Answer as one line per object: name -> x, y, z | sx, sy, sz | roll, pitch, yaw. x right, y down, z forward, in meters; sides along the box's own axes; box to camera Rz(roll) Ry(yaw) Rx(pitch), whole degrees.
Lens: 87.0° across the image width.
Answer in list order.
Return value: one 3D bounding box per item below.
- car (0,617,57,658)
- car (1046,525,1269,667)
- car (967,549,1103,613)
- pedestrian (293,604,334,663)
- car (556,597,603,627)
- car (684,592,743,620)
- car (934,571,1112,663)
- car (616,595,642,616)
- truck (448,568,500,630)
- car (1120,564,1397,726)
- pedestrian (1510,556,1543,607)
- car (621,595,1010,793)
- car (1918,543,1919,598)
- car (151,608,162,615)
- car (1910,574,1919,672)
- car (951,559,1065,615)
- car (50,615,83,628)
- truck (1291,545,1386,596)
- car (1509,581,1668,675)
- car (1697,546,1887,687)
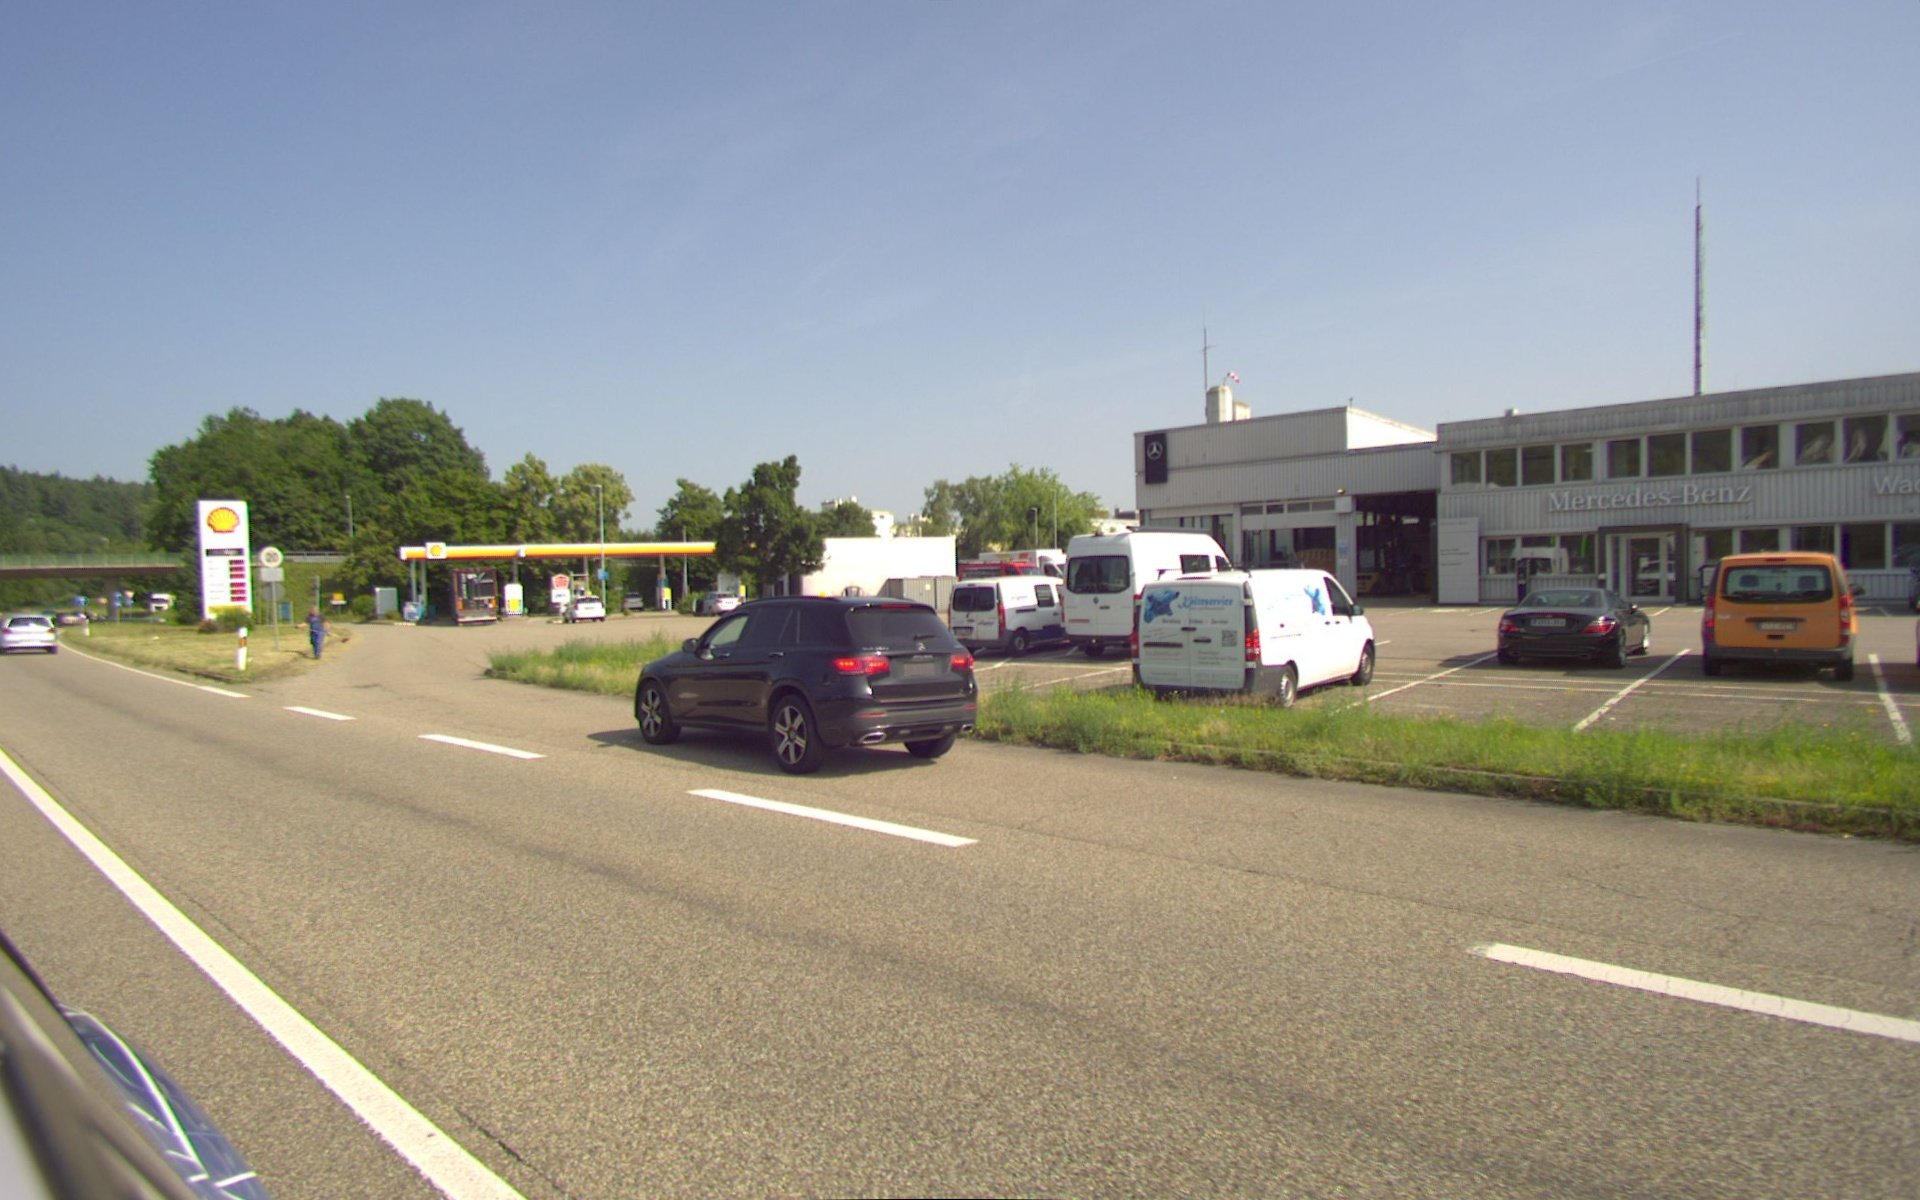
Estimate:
car -> -35.464, 1.402, 38.416 | 1.658, 1.484, 3.710 | 1, -1, -44
car -> 4.543, -0.197, 22.505 | 2.284, 2.765, 5.662 | -1, 2, 41
car -> 3.613, -0.865, 49.939 | 6.525, 2.877, 2.370 | -2, 0, 41
pedestrian -> -19.344, 0.984, 30.283 | 0.835, 1.702, 1.148 | -1, 0, -23
car -> -21.550, 0.665, 57.242 | 1.691, 1.578, 4.671 | -1, 0, -31
car -> -14.683, 0.361, 60.033 | 1.693, 1.578, 4.668 | -1, 0, -37
car -> 1.590, 0.328, 24.024 | 1.985, 1.853, 4.401 | -1, 2, 39
car -> -28.234, 0.472, 86.233 | 1.877, 1.654, 4.013 | -2, 1, -20
truck -> -36.587, -0.076, 75.784 | 3.010, 4.165, 16.826 | -1, 0, -27
car -> 4.451, 0.492, 14.568 | 2.142, 1.871, 4.625 | -2, 1, 39
pedestrian -> 19.378, -0.627, 34.616 | 0.849, 1.702, 0.812 | -1, 0, 38
car -> -1.719, 0.829, 10.679 | 1.790, 1.642, 4.545 | 2, -2, -43
car -> 25.711, -0.601, 25.385 | 2.210, 1.868, 4.765 | -2, 0, 41
car -> -162.161, 2.309, 204.309 | 1.656, 1.366, 3.929 | 1, -1, -39
car -> 14.266, 0.382, 13.525 | 1.965, 1.409, 4.421 | -1, 2, 39
car -> 2.180, -0.555, 46.881 | 5.221, 2.404, 1.861 | -2, 0, 41
car -> -84.497, 2.037, 95.688 | 4.096, 1.181, 1.785 | -1, -1, 40
truck -> 19.150, -1.410, 50.962 | 2.449, 2.375, 6.809 | -1, 0, 39
car -> 11.119, 0.419, 17.756 | 1.798, 1.328, 4.337 | -1, 1, 39
car -> 12.853, 0.148, 15.722 | 1.999, 1.821, 4.338 | -2, 2, 39
